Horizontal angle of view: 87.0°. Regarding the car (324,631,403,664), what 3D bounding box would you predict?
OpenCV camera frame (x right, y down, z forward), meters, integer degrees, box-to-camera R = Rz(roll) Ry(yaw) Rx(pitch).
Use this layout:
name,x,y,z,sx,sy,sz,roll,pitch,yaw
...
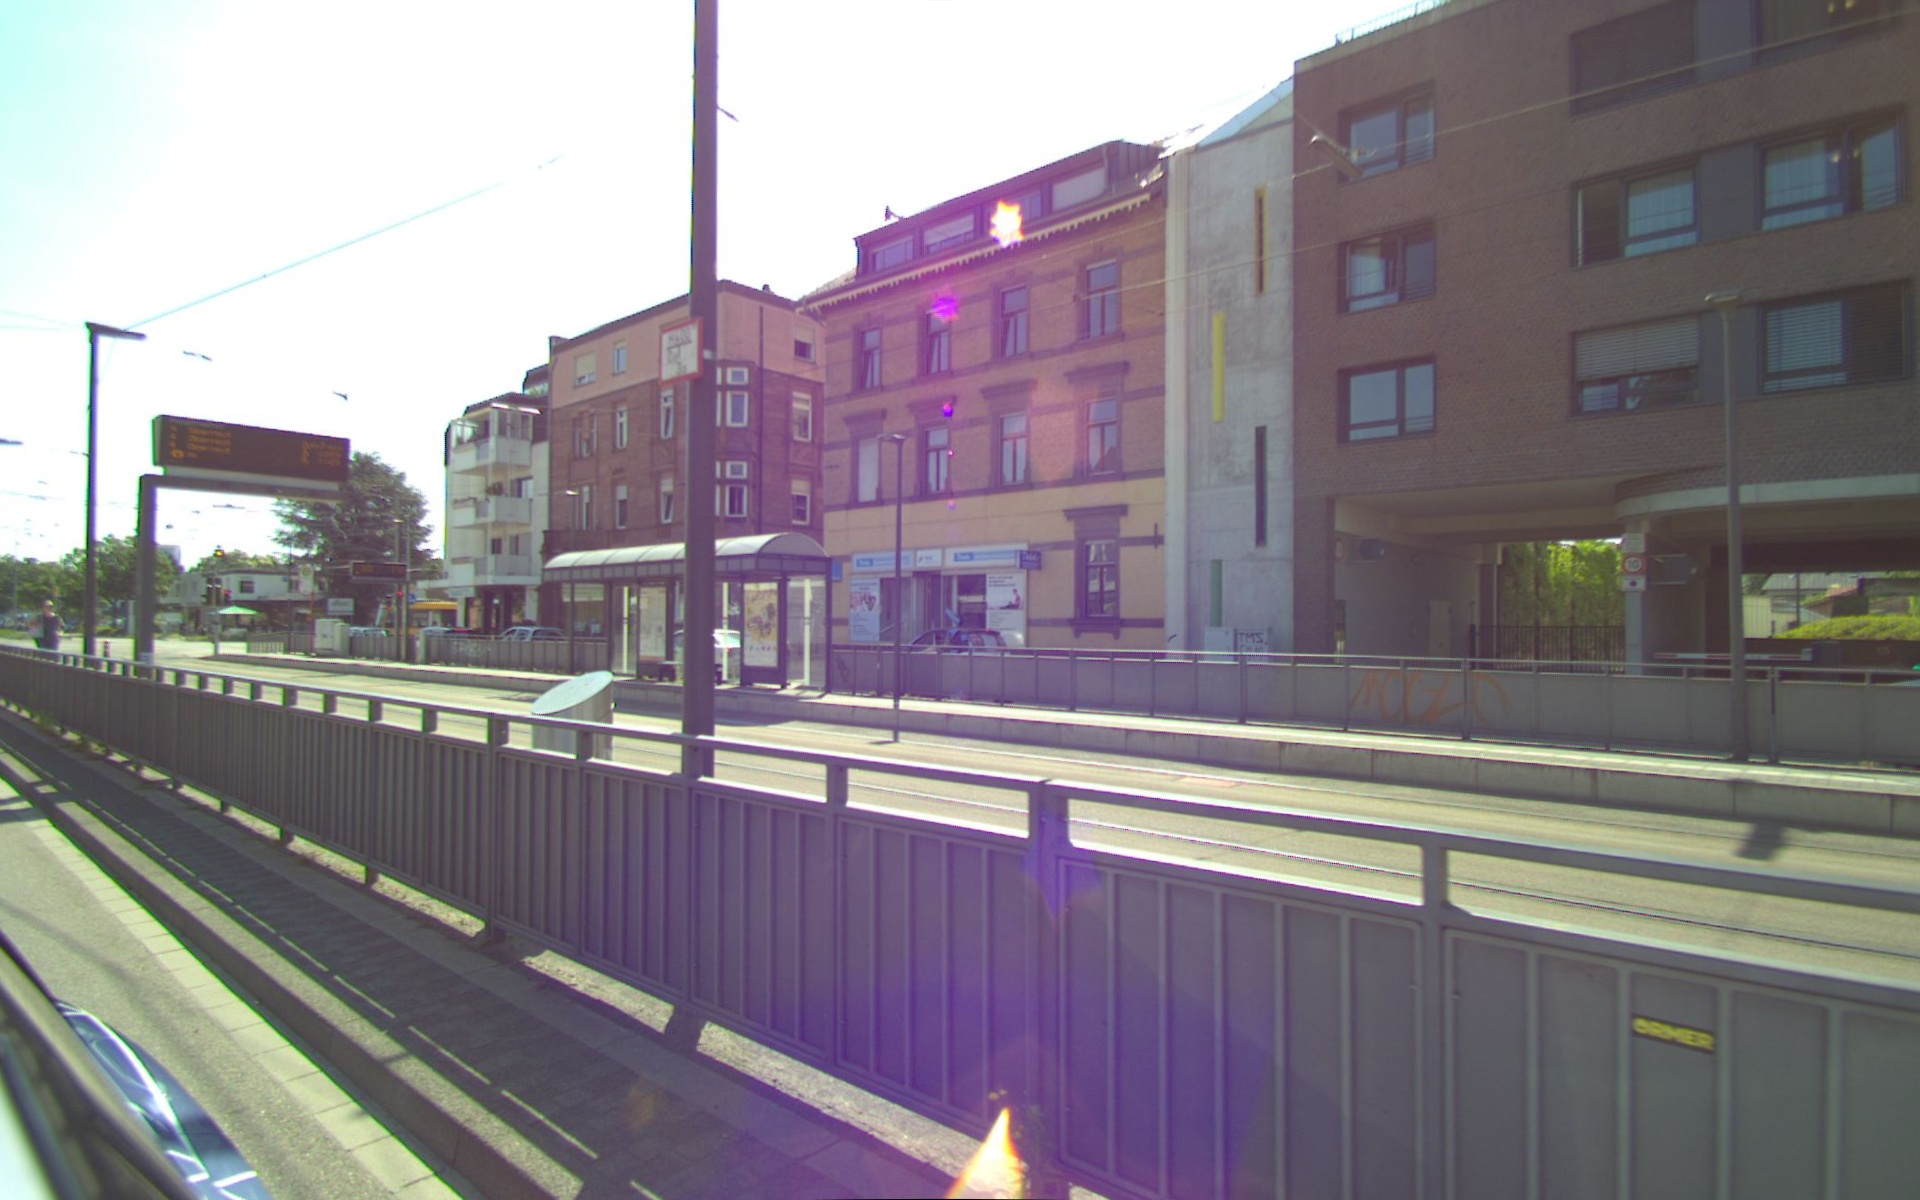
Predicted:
name,x,y,z,sx,sy,sz,roll,pitch,yaw
car,-25.353,1.995,42.941,4.077,1.253,1.694,-1,0,41

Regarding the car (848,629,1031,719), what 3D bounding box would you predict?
name,x,y,z,sx,sy,sz,roll,pitch,yaw
car,-0.473,1.439,20.796,3.577,1.635,1.694,-1,-1,42

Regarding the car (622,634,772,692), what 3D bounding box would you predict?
name,x,y,z,sx,sy,sz,roll,pitch,yaw
car,-7.081,1.635,27.016,4.518,1.373,1.614,-1,-3,41

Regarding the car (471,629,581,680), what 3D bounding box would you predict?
name,x,y,z,sx,sy,sz,roll,pitch,yaw
car,-14.088,1.727,32.779,4.079,1.490,1.694,-2,-1,42

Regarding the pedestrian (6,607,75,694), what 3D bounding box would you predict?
name,x,y,z,sx,sy,sz,roll,pitch,yaw
pedestrian,-20.489,1.104,22.555,1.237,1.873,0.970,-1,-3,41

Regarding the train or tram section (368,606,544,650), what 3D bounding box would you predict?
name,x,y,z,sx,sy,sz,roll,pitch,yaw
train or tram section,-42.196,2.390,85.346,2.689,3.507,13.148,-1,-2,43

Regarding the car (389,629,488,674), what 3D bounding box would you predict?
name,x,y,z,sx,sy,sz,roll,pitch,yaw
car,-19.319,1.866,37.394,4.470,1.527,1.694,-2,-1,41

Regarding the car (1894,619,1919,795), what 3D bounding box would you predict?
name,x,y,z,sx,sy,sz,roll,pitch,yaw
car,11.725,1.054,9.553,4.187,1.742,1.782,-2,-1,42
